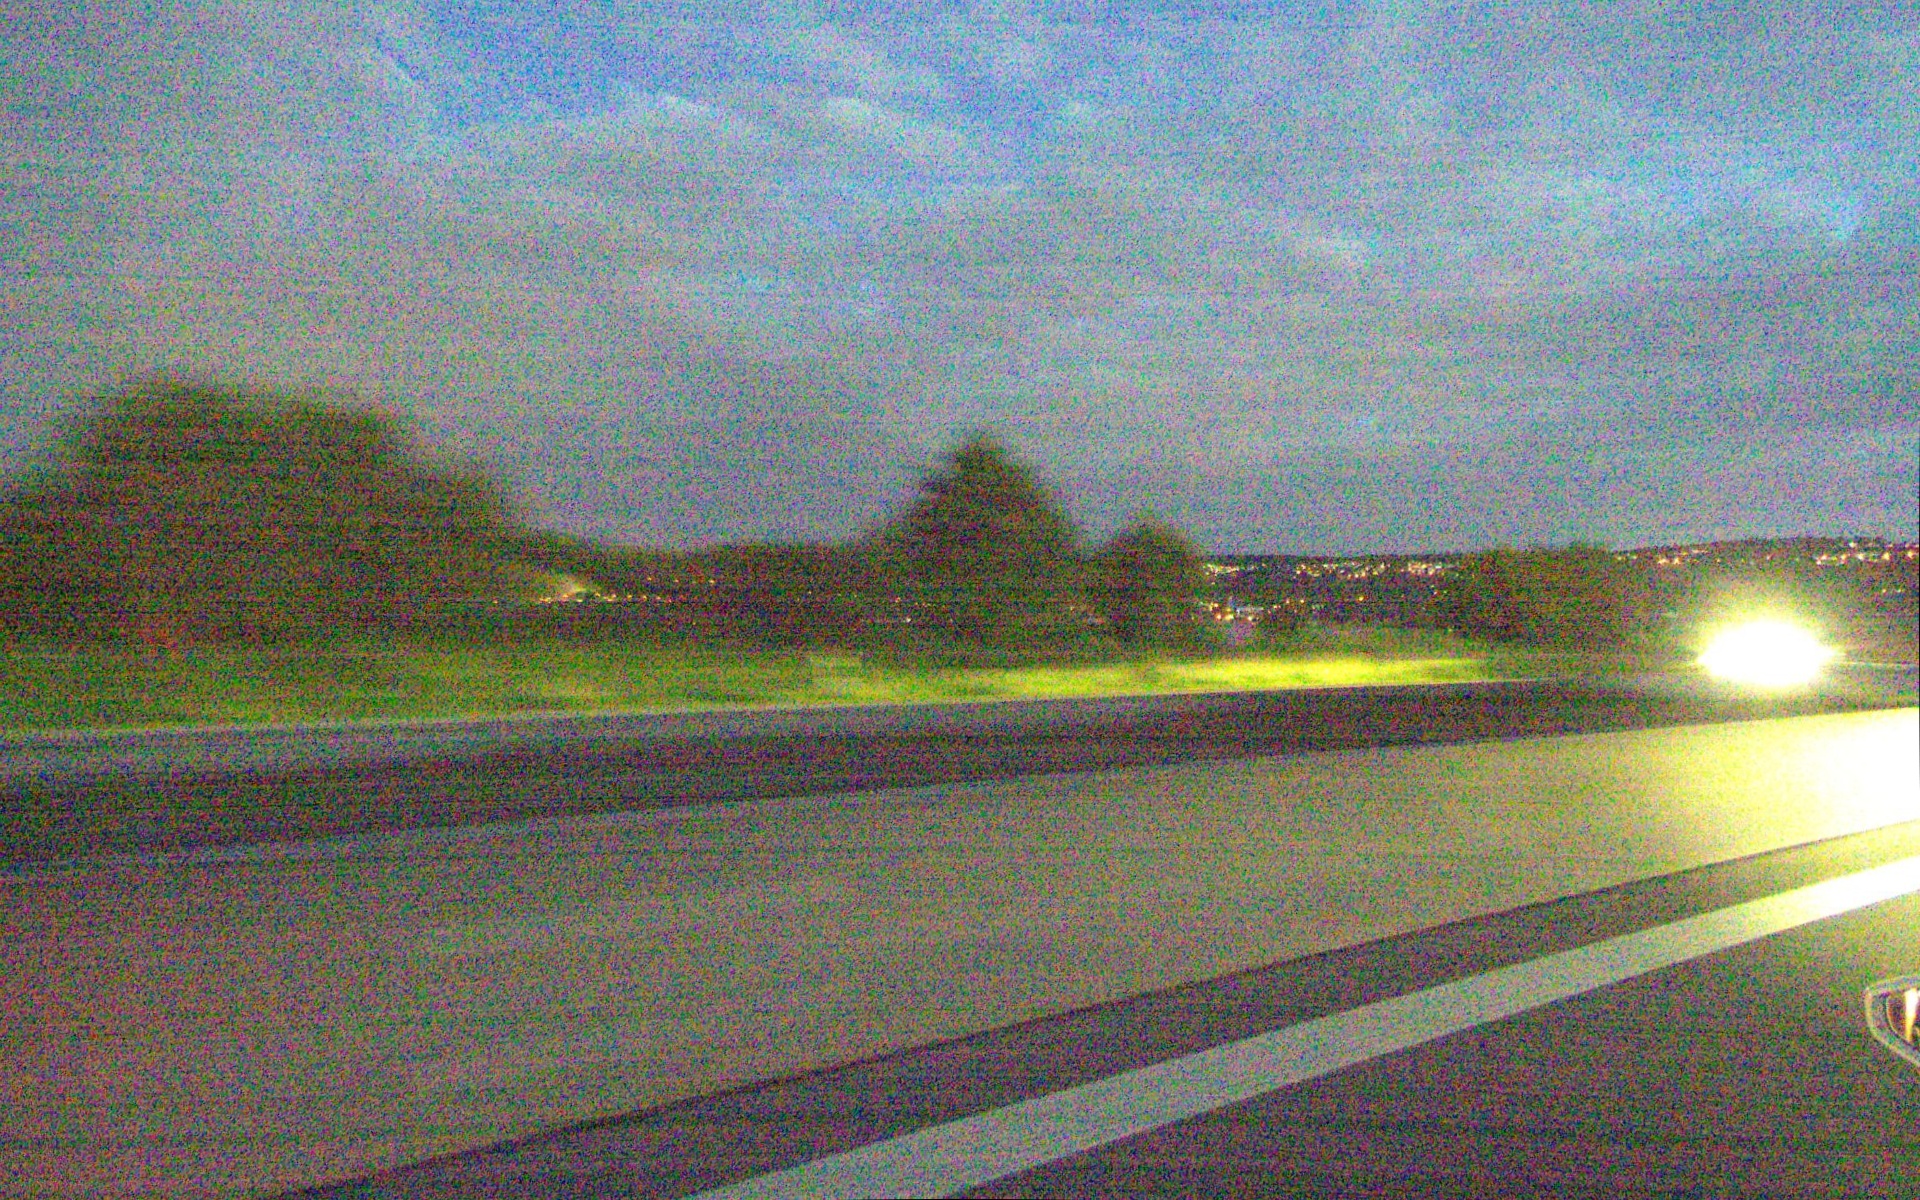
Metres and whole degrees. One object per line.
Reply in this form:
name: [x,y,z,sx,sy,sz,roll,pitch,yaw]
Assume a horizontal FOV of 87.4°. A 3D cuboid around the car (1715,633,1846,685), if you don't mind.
car: [29.515,2.108,36.124,4.717,1.742,2.036,1,-4,-29]
